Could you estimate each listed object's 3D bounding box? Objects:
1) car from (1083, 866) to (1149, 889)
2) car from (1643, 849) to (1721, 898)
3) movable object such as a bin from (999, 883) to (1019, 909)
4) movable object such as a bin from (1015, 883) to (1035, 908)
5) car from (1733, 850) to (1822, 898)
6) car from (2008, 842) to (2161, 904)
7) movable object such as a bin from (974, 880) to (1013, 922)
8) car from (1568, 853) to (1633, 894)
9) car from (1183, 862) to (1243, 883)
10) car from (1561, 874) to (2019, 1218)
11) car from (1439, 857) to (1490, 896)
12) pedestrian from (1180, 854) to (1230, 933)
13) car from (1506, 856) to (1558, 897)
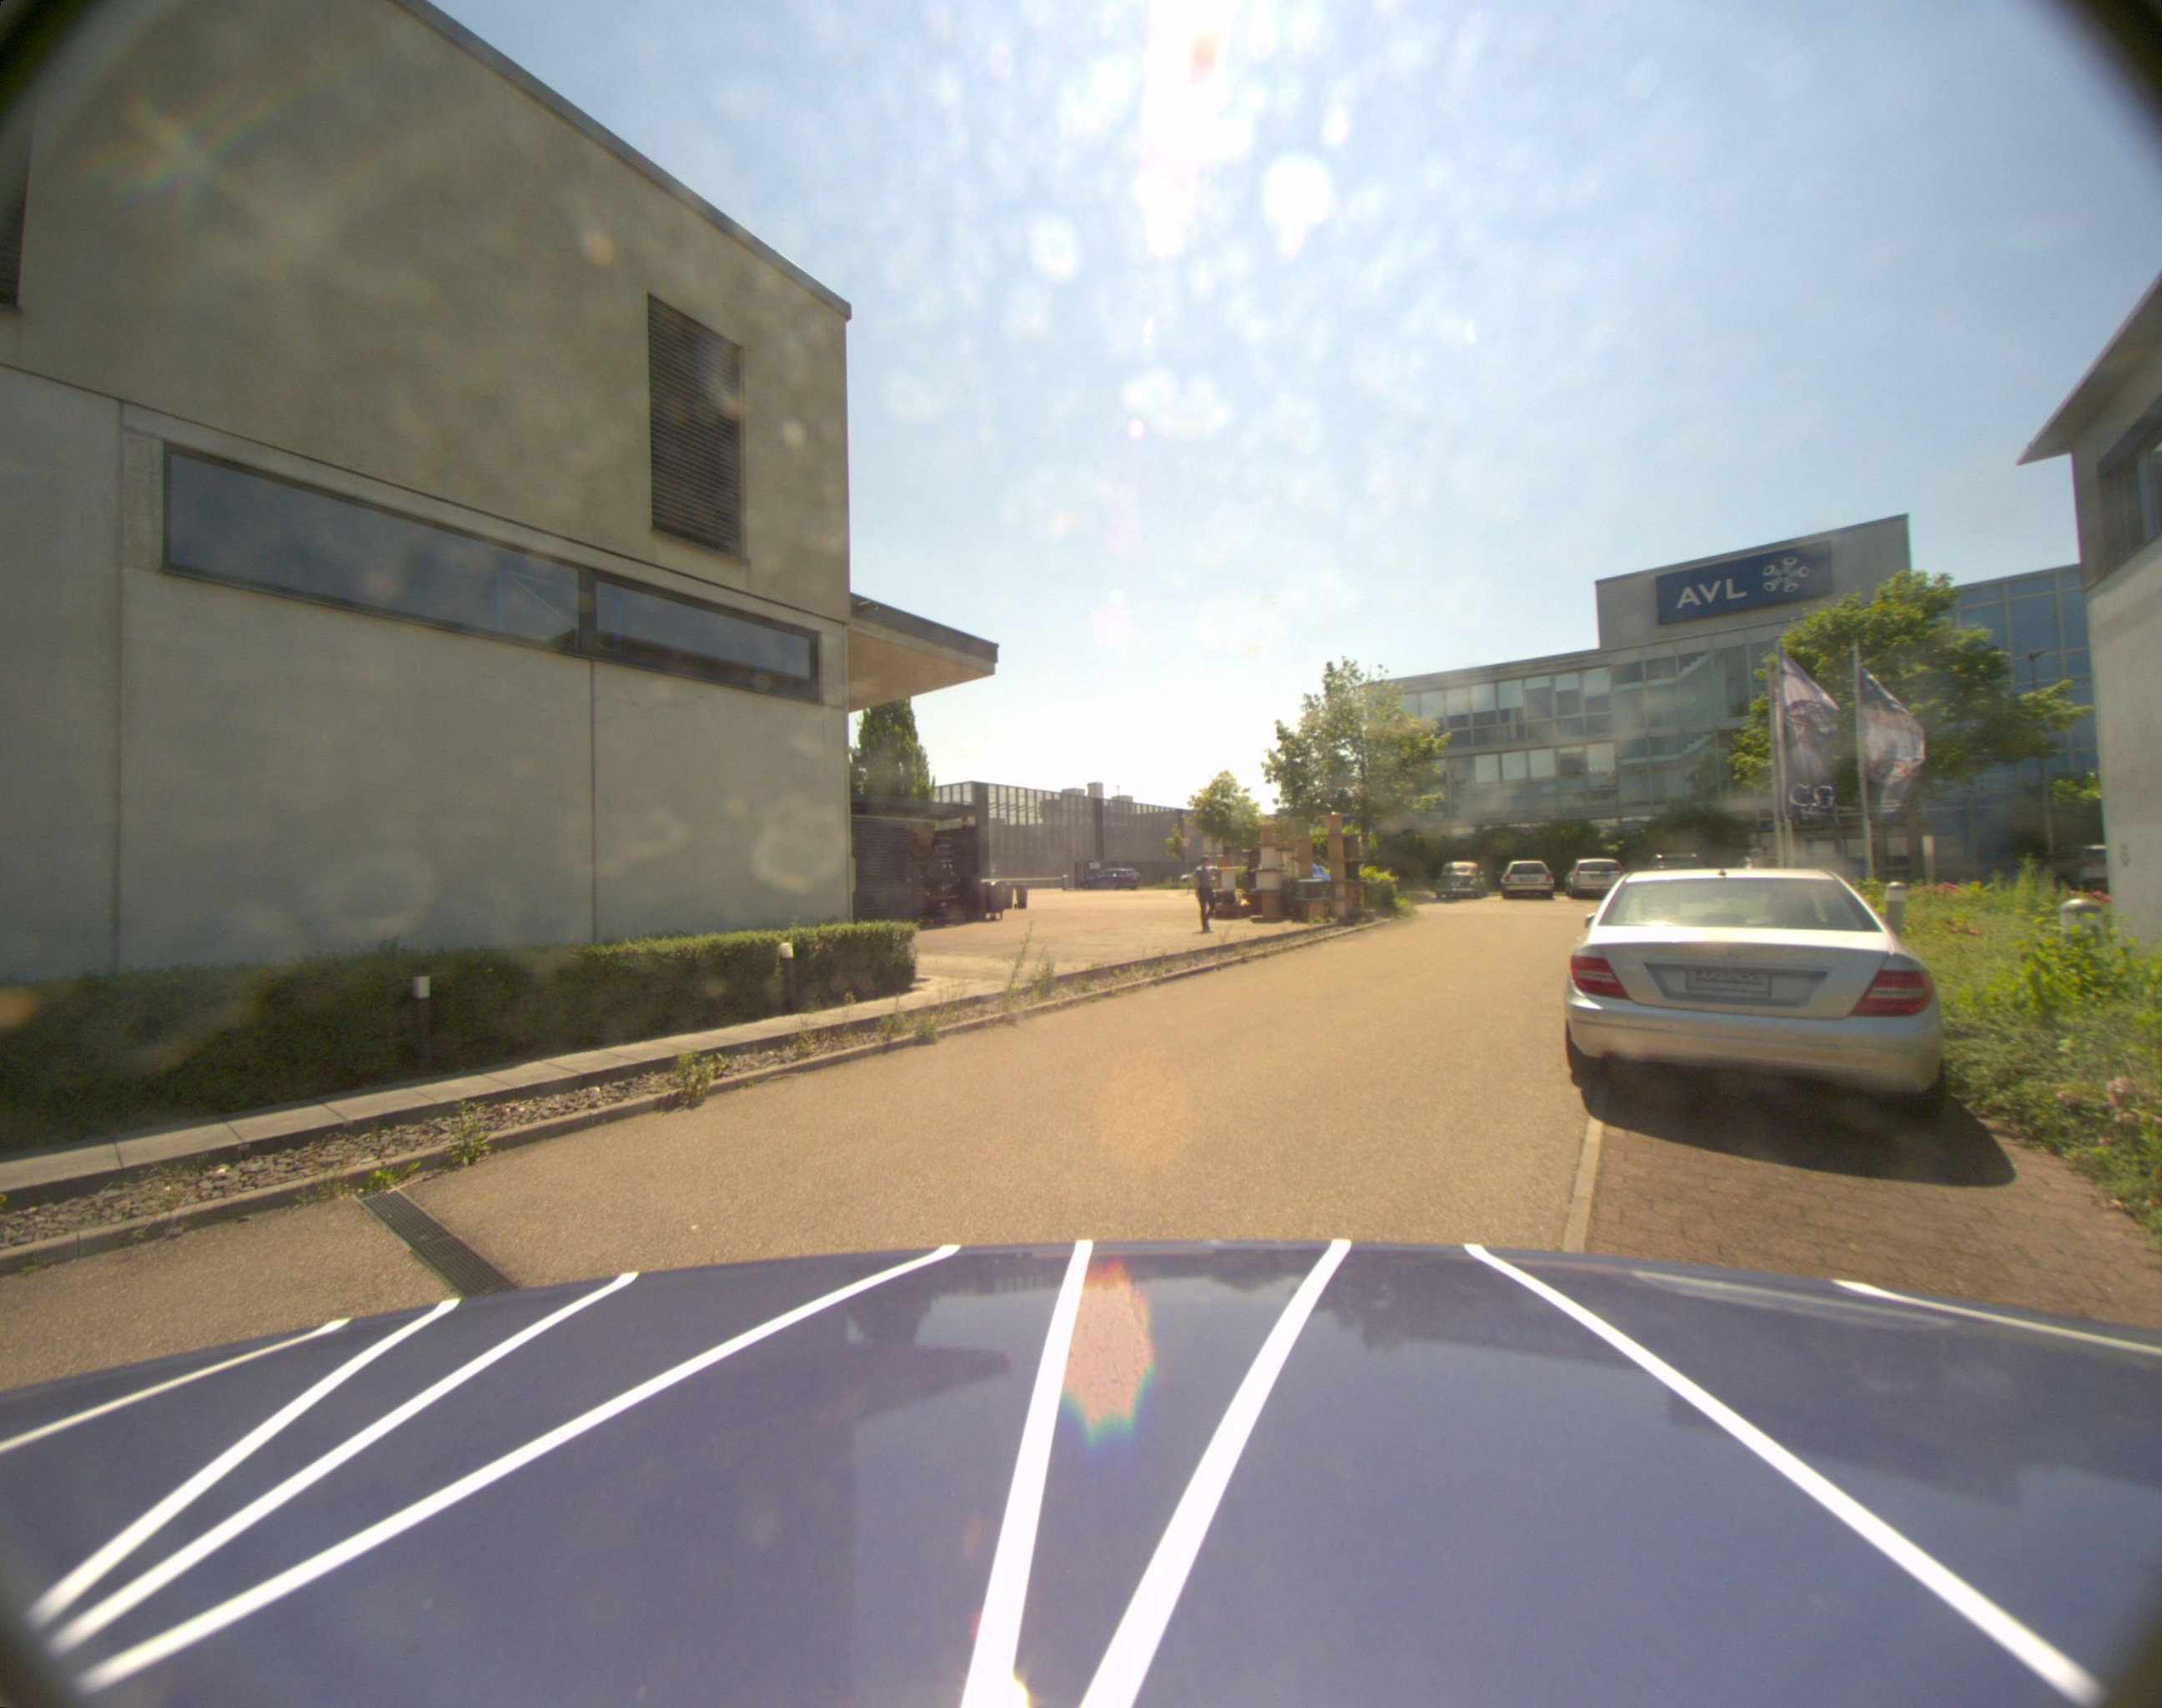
[{"bbox_3d":[2.318,1.595,51.079,1.863,1.401,4.435,-1,-1,-41],"label":"car"},{"bbox_3d":[21.549,0.648,27.372,1.934,1.593,3.867,-1,0,35],"label":"car"},{"bbox_3d":[-2.709,1.583,28.592,0.584,0.912,0.548,-2,0,12],"label":"movable object such as a bin"},{"bbox_3d":[-2.085,1.552,28.511,0.584,0.912,0.548,-2,0,12],"label":"movable object such as a bin"},{"bbox_3d":[23.721,0.643,26.011,1.726,1.475,4.406,-2,-1,36],"label":"car"},{"bbox_3d":[29.199,0.506,22.085,1.828,1.627,4.180,-2,-1,36],"label":"car"},{"bbox_3d":[-2.737,1.445,23.781,0.874,1.242,0.803,-2,0,44],"label":"movable object such as a bin"},{"bbox_3d":[19.786,0.718,29.074,1.728,1.443,3.607,-1,0,29],"label":"car"},{"bbox_3d":[9.920,1.429,57.340,1.784,1.467,4.403,-1,-1,-38],"label":"car"},{"bbox_3d":[4.856,0.929,5.584,1.730,1.448,4.156,-2,-1,39],"label":"car"},{"bbox_3d":[15.691,0.875,31.020,1.518,1.437,3.426,-1,0,33],"label":"car"},{"bbox_3d":[2.893,0.909,17.788,0.810,1.758,0.767,-2,0,-24],"label":"pedestrian"},{"bbox_3d":[17.653,0.836,29.837,1.639,1.443,3.607,-1,0,29],"label":"car"}]
